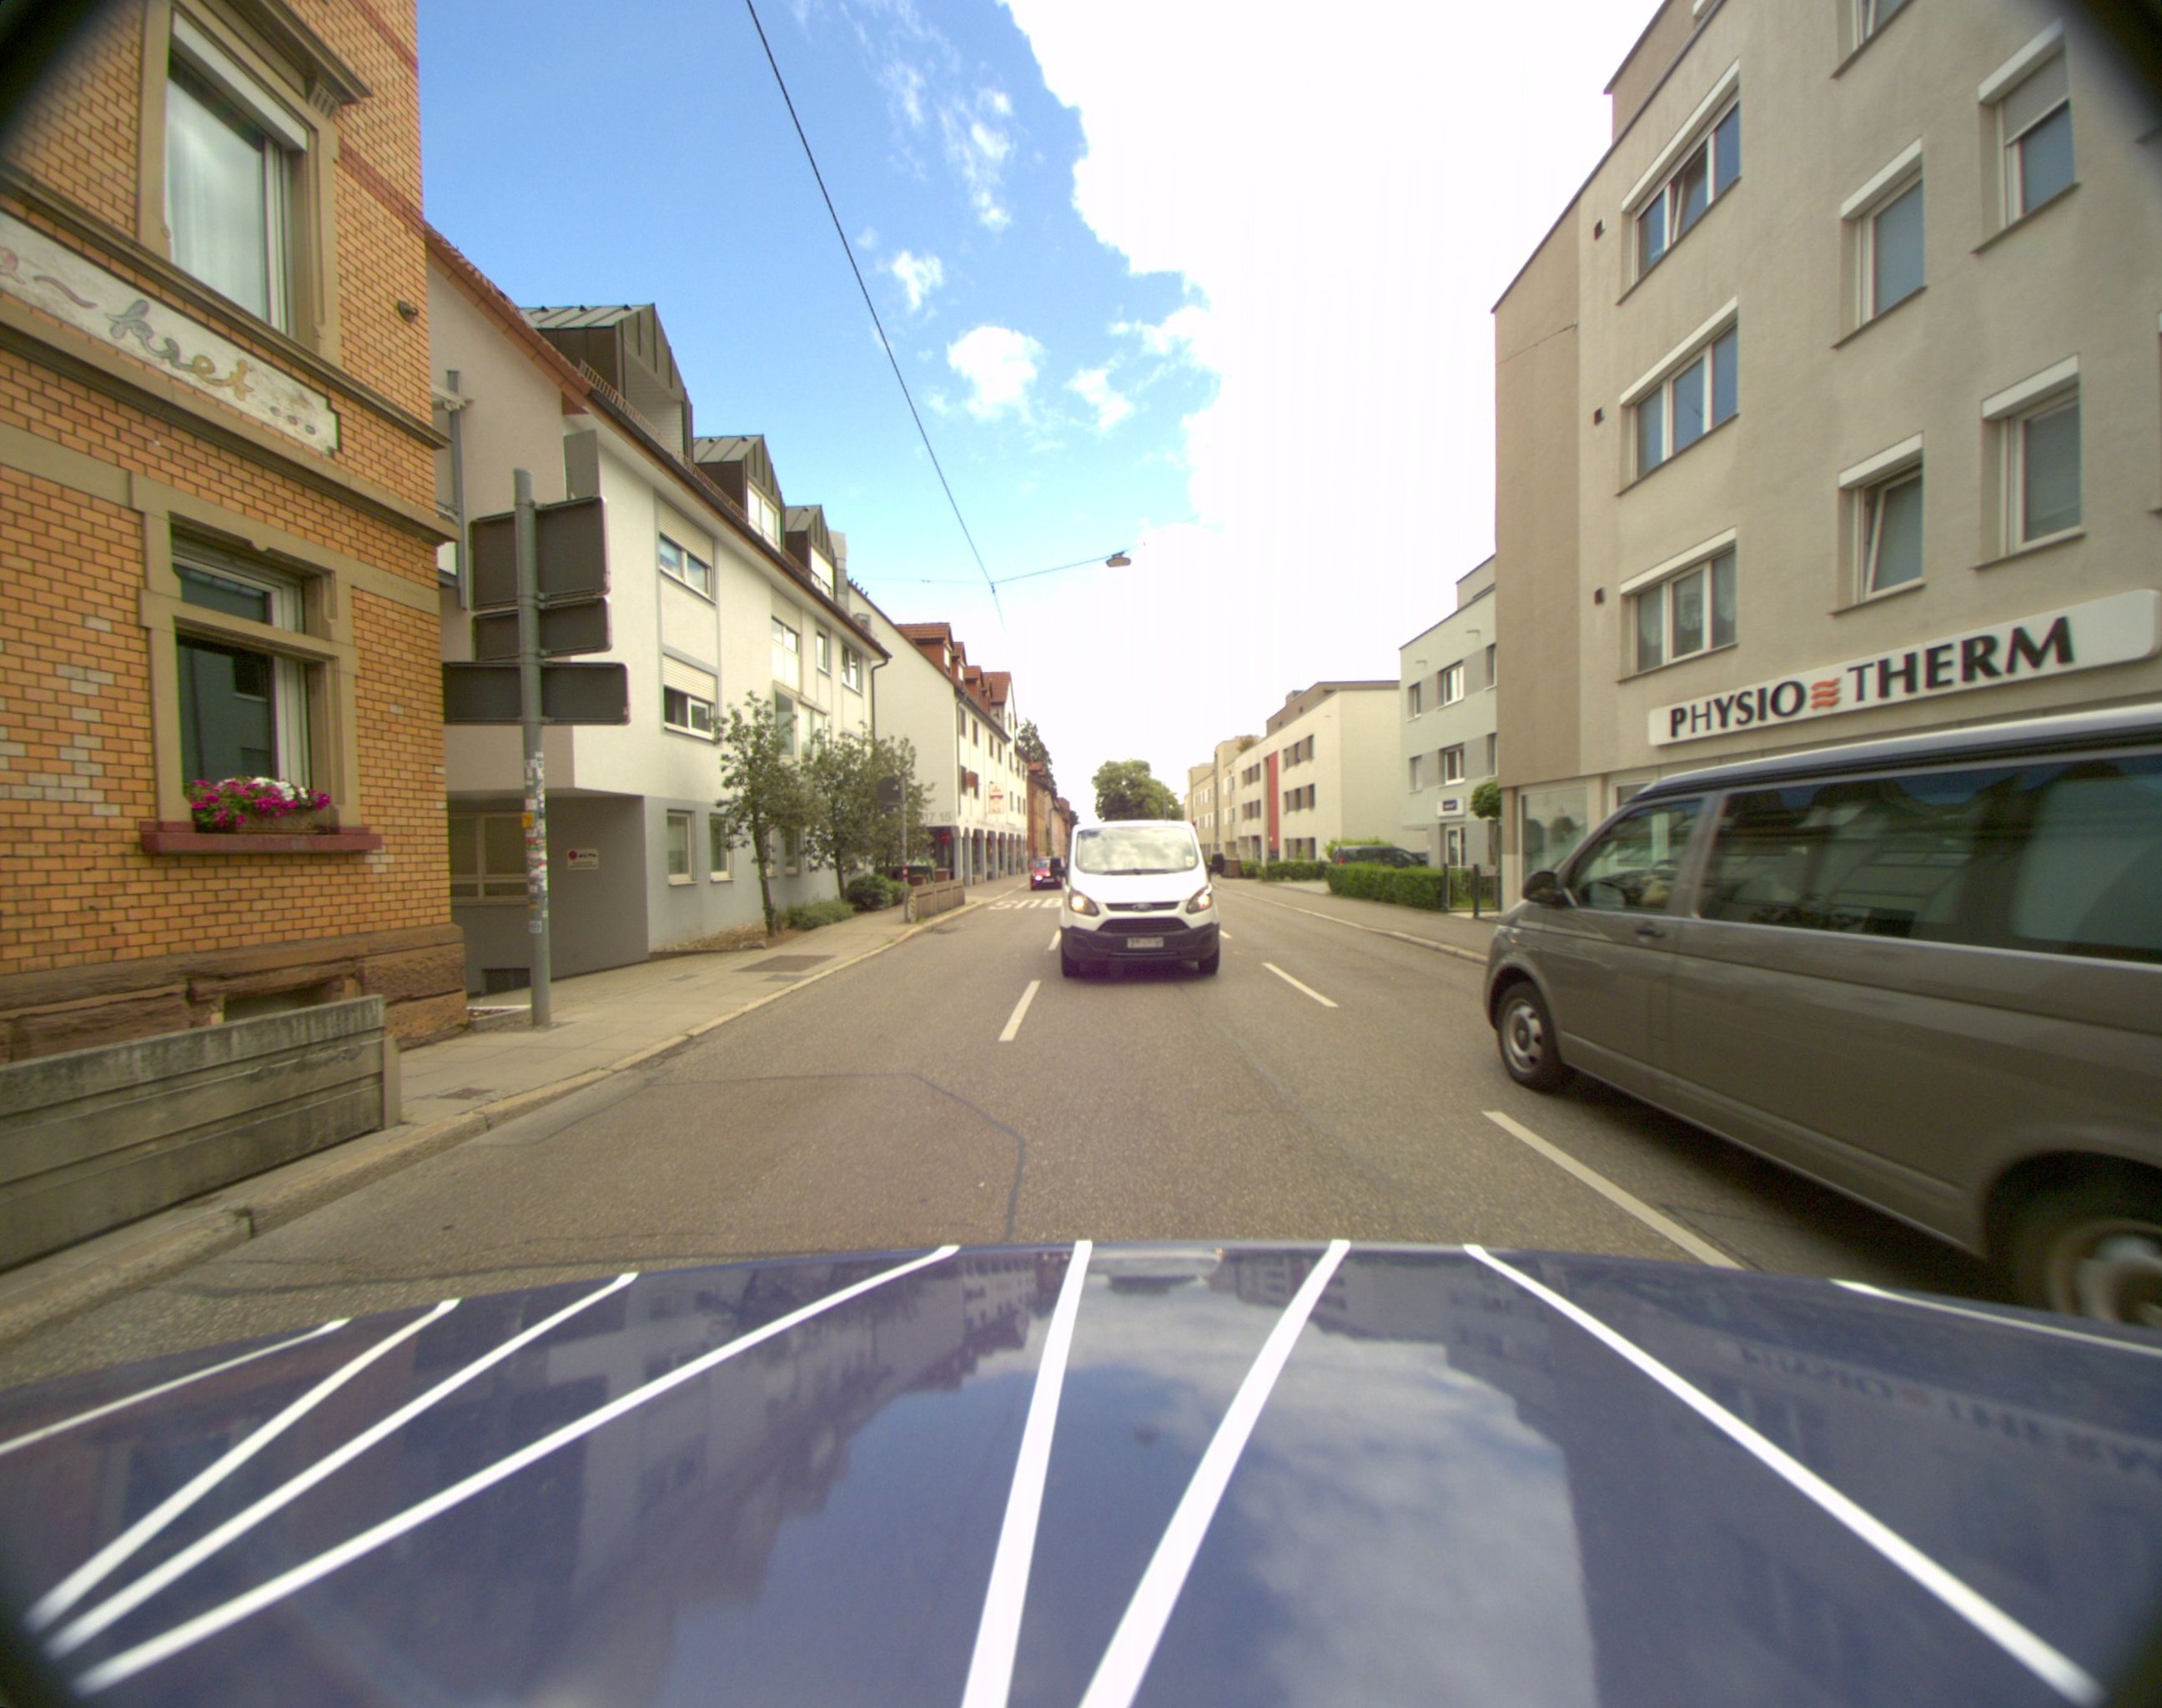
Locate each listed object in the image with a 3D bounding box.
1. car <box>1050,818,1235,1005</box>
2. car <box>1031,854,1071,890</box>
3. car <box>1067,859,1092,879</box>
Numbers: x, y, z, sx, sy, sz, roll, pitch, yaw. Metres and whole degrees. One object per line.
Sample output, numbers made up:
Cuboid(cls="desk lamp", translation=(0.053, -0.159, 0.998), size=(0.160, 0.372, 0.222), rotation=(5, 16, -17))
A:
Cuboid(cls="car", translation=(0.667, 0.602, 10.734), size=(1.965, 1.986, 5.086), rotation=(-1, 1, 0))
Cuboid(cls="car", translation=(-1.356, 0.789, 35.455), size=(1.703, 1.444, 3.999), rotation=(-3, 1, -1))
Cuboid(cls="car", translation=(-0.105, 1.332, 68.569), size=(1.998, 1.537, 4.571), rotation=(-3, 1, 3))
